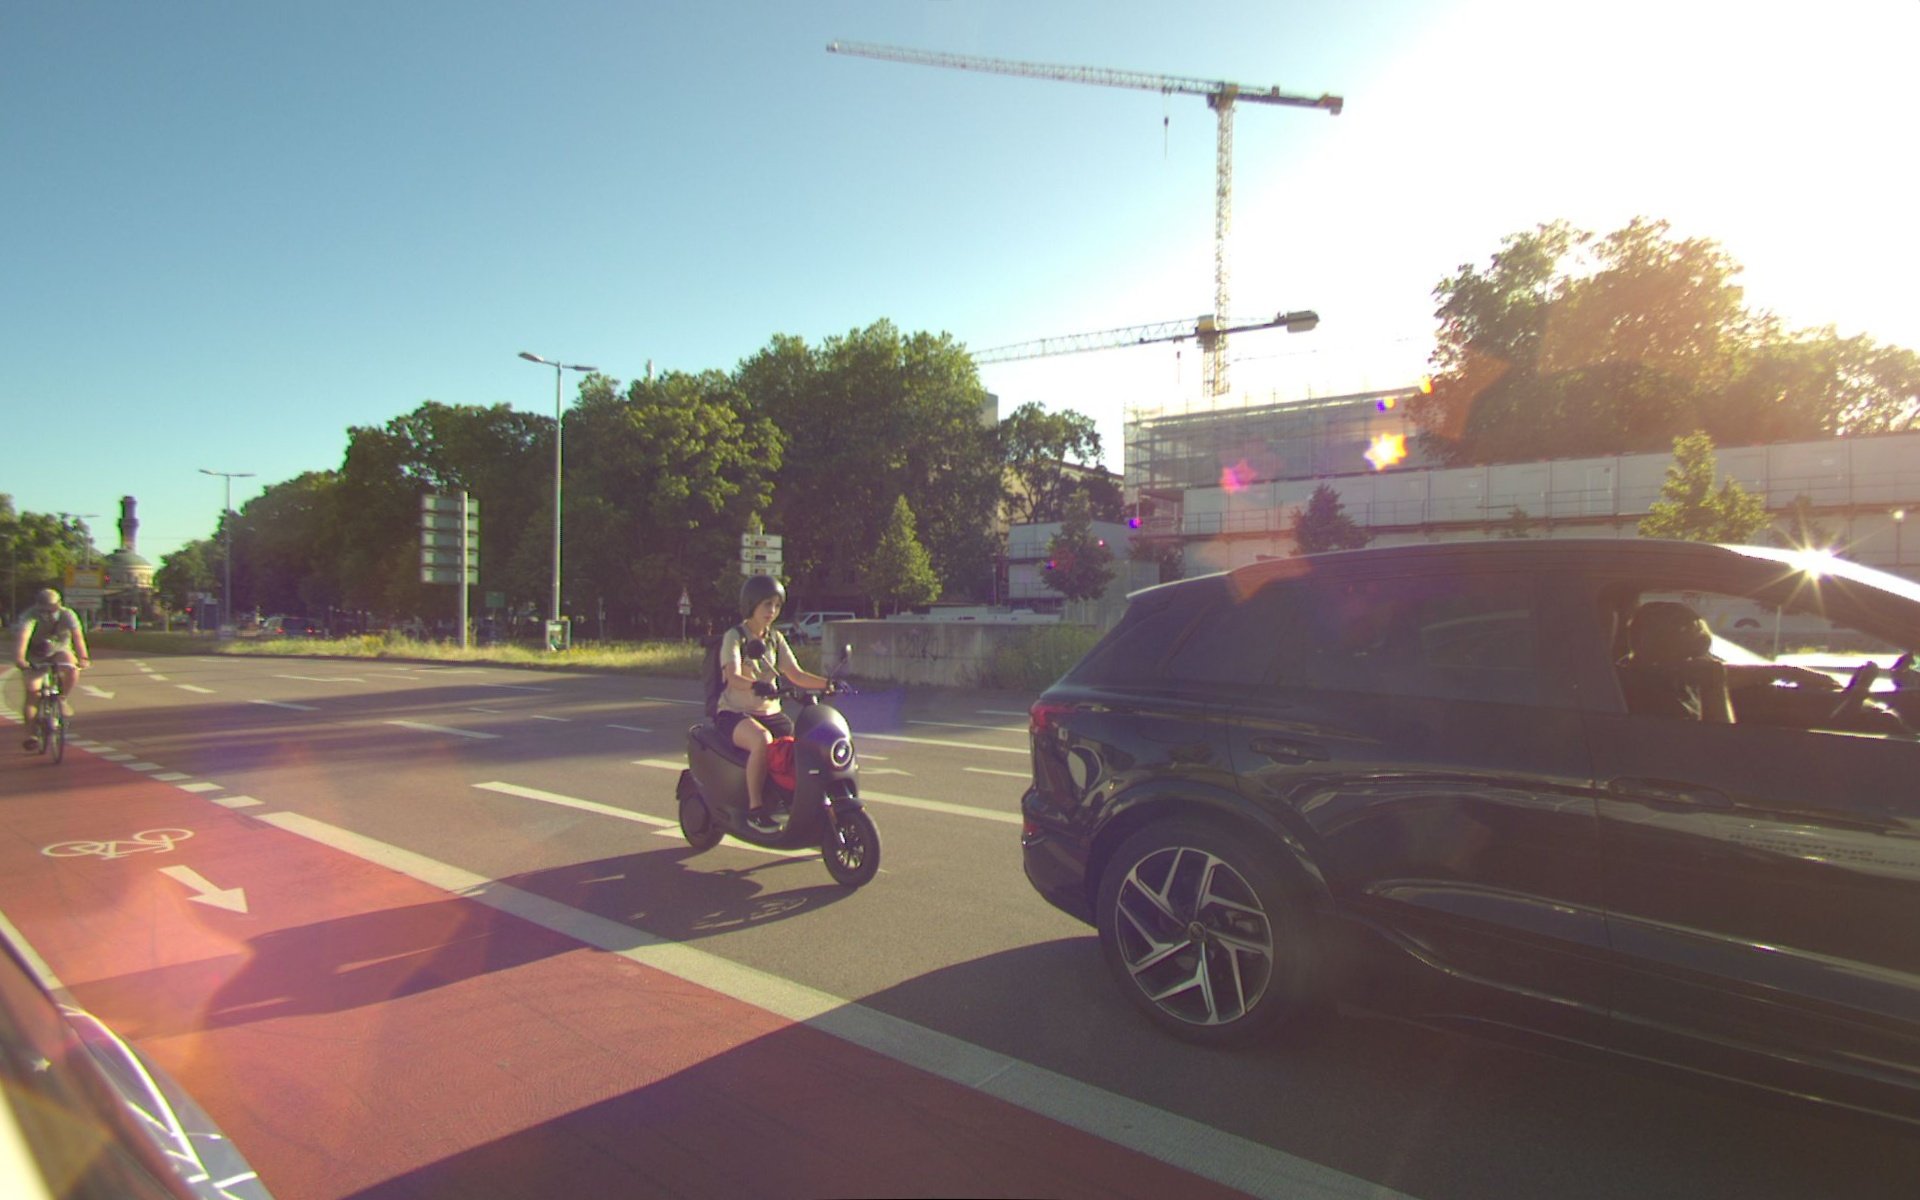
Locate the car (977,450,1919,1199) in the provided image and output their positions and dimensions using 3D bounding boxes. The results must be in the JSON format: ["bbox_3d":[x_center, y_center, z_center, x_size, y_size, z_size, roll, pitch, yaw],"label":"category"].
[{"bbox_3d":[2.539,0.535,3.193,4.661,1.720,2.144,-1,-1,40],"label":"car"}]

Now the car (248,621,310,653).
[{"bbox_3d":[-43.585,2.356,64.733,4.925,1.937,1.863,-1,-2,39],"label":"car"}]

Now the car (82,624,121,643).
[{"bbox_3d":[-65.611,2.561,77.293,3.941,1.387,1.705,-1,-2,41],"label":"car"}]

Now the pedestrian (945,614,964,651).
[{"bbox_3d":[-0.234,1.428,44.628,0.597,1.614,0.580,-1,0,38],"label":"pedestrian"}]

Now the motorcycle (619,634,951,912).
[{"bbox_3d":[-1.043,0.845,5.721,1.943,1.290,0.817,-1,-2,41],"label":"motorcycle"}]

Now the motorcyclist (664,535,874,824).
[{"bbox_3d":[-1.086,0.417,5.775,0.877,1.475,0.813,-1,-2,41],"label":"motorcyclist"}]

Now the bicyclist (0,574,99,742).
[{"bbox_3d":[-9.567,0.586,10.617,0.877,1.671,0.666,-1,-2,41],"label":"bicyclist"}]

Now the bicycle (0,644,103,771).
[{"bbox_3d":[-9.590,1.078,10.617,1.505,1.201,0.680,-1,-2,41],"label":"bicycle"}]

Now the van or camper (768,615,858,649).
[{"bbox_3d":[-8.956,1.934,61.889,1.951,1.960,5.425,-2,-2,44],"label":"van or camper"}]

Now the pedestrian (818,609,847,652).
[{"bbox_3d":[-5.969,1.424,47.406,0.815,1.978,1.111,-1,0,41],"label":"pedestrian"}]

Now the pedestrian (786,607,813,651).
[{"bbox_3d":[-7.643,1.364,48.128,0.837,2.029,0.947,-1,0,32],"label":"pedestrian"}]
